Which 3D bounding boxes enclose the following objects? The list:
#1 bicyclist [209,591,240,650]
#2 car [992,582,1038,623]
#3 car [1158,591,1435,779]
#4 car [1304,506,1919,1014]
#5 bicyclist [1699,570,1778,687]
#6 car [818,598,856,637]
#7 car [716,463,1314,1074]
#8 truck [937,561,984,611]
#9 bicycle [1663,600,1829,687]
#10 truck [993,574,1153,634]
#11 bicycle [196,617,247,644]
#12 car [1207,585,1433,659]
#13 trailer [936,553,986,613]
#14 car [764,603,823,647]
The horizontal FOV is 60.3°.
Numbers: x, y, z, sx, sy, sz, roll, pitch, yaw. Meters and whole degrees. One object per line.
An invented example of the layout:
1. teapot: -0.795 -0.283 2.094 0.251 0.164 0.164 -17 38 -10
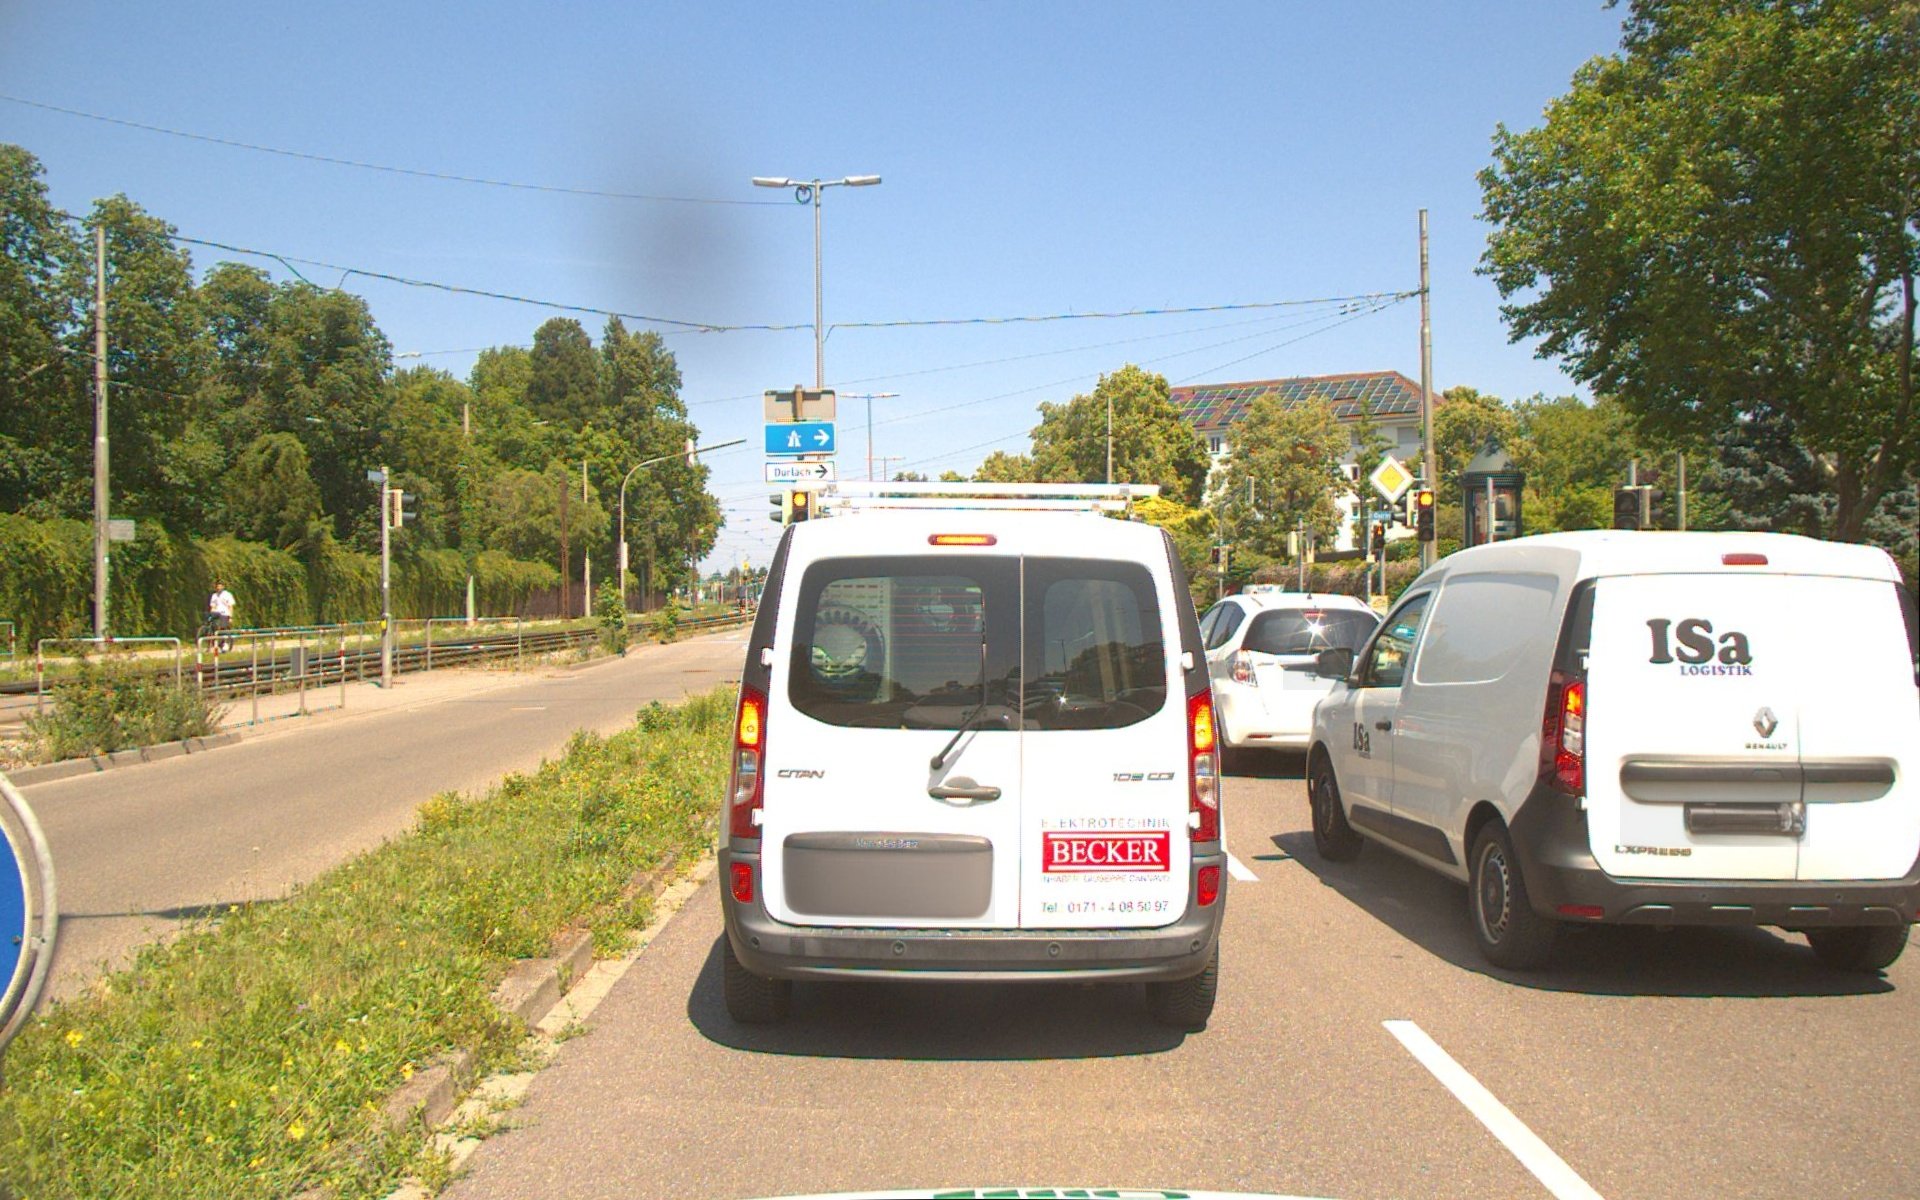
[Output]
1. bicyclist: -19.072 0.520 42.887 0.546 1.504 0.561 0 0 0
2. car: 2.693 0.119 80.299 1.951 1.948 4.003 0 0 6
3. car: 2.999 0.687 15.547 1.720 1.512 3.999 1 0 -1
4. car: 3.012 0.576 8.113 1.676 1.862 4.011 0 0 -2
5. bicyclist: 12.105 0.422 25.704 0.938 1.769 1.128 0 0 34
6. car: -6.747 0.940 91.071 1.954 2.049 3.998 0 0 -3
7. car: 0.130 0.520 7.044 1.829 1.868 3.847 1 0 -1
8. truck: 0.088 -1.091 127.871 3.502 3.696 8.809 0 0 1
9. bicycle: 12.182 0.659 25.670 2.223 1.291 0.884 0 0 35
10. truck: 3.999 0.129 60.113 2.278 2.049 6.650 0 0 -33
11. bicycle: -19.067 0.785 42.746 0.549 0.659 1.720 0 0 0
12. car: 7.938 0.463 36.430 4.584 1.552 2.000 0 0 23
13. trailer: 0.044 -1.209 118.930 3.455 4.121 8.976 0 0 0
14. car: -5.811 0.854 57.366 1.661 1.334 3.874 3 1 -11
